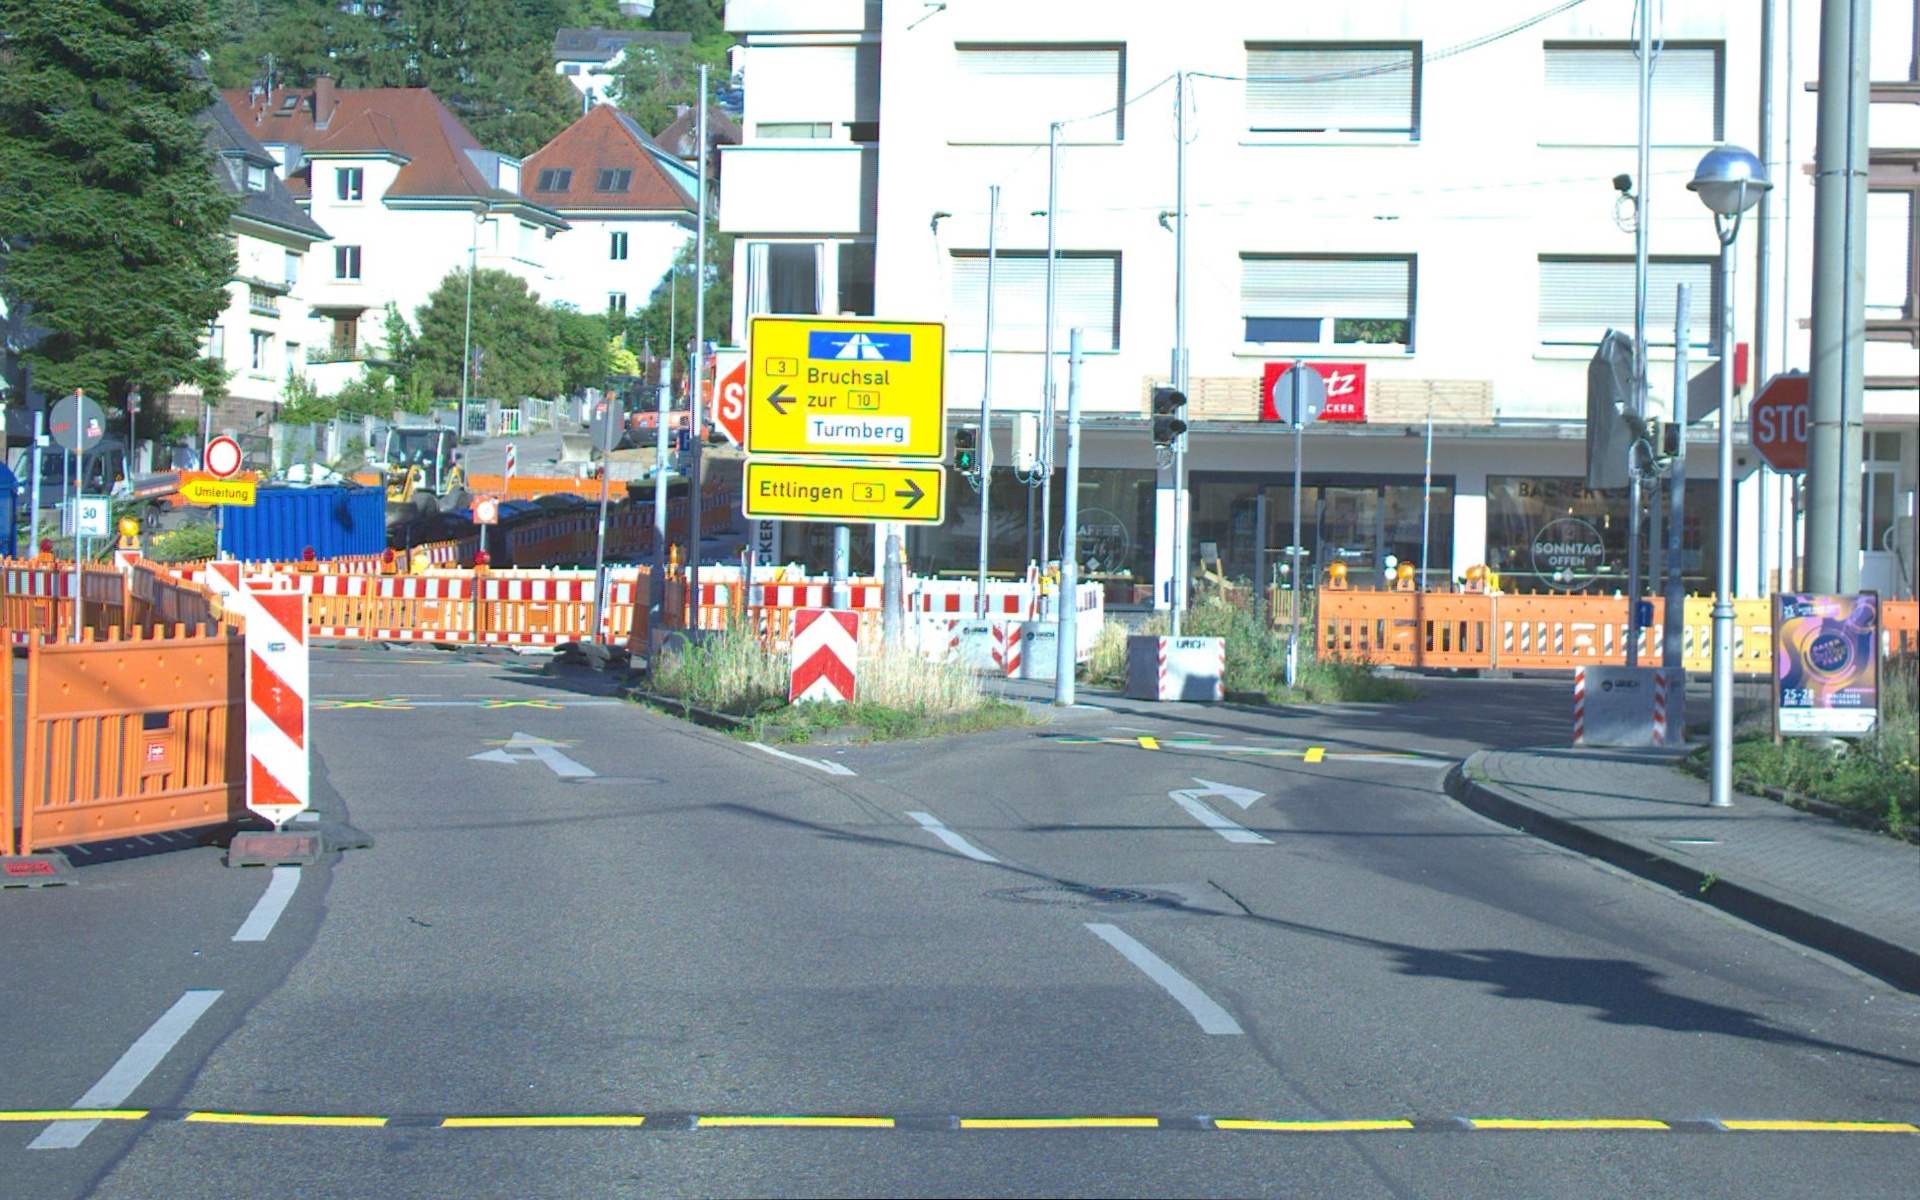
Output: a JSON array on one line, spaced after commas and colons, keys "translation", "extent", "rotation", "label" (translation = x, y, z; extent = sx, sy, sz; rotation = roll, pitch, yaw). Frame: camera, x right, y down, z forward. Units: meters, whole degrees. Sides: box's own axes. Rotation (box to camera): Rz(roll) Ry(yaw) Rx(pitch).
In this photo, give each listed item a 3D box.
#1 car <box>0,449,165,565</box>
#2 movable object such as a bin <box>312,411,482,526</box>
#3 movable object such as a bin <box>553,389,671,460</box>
[{"translation": [-18.061, -1.753, 66.152], "extent": [2.585, 2.113, 6.145], "rotation": [1, 1, 18], "label": "car"}, {"translation": [-12.886, -2.987, 78.947], "extent": [1.950, 2.486, 4.547], "rotation": [1, 1, 18], "label": "movable object such as a bin"}, {"translation": [-11.588, -5.835, 114.841], "extent": [2.566, 2.114, 5.782], "rotation": [1, 1, 8], "label": "movable object such as a bin"}]
